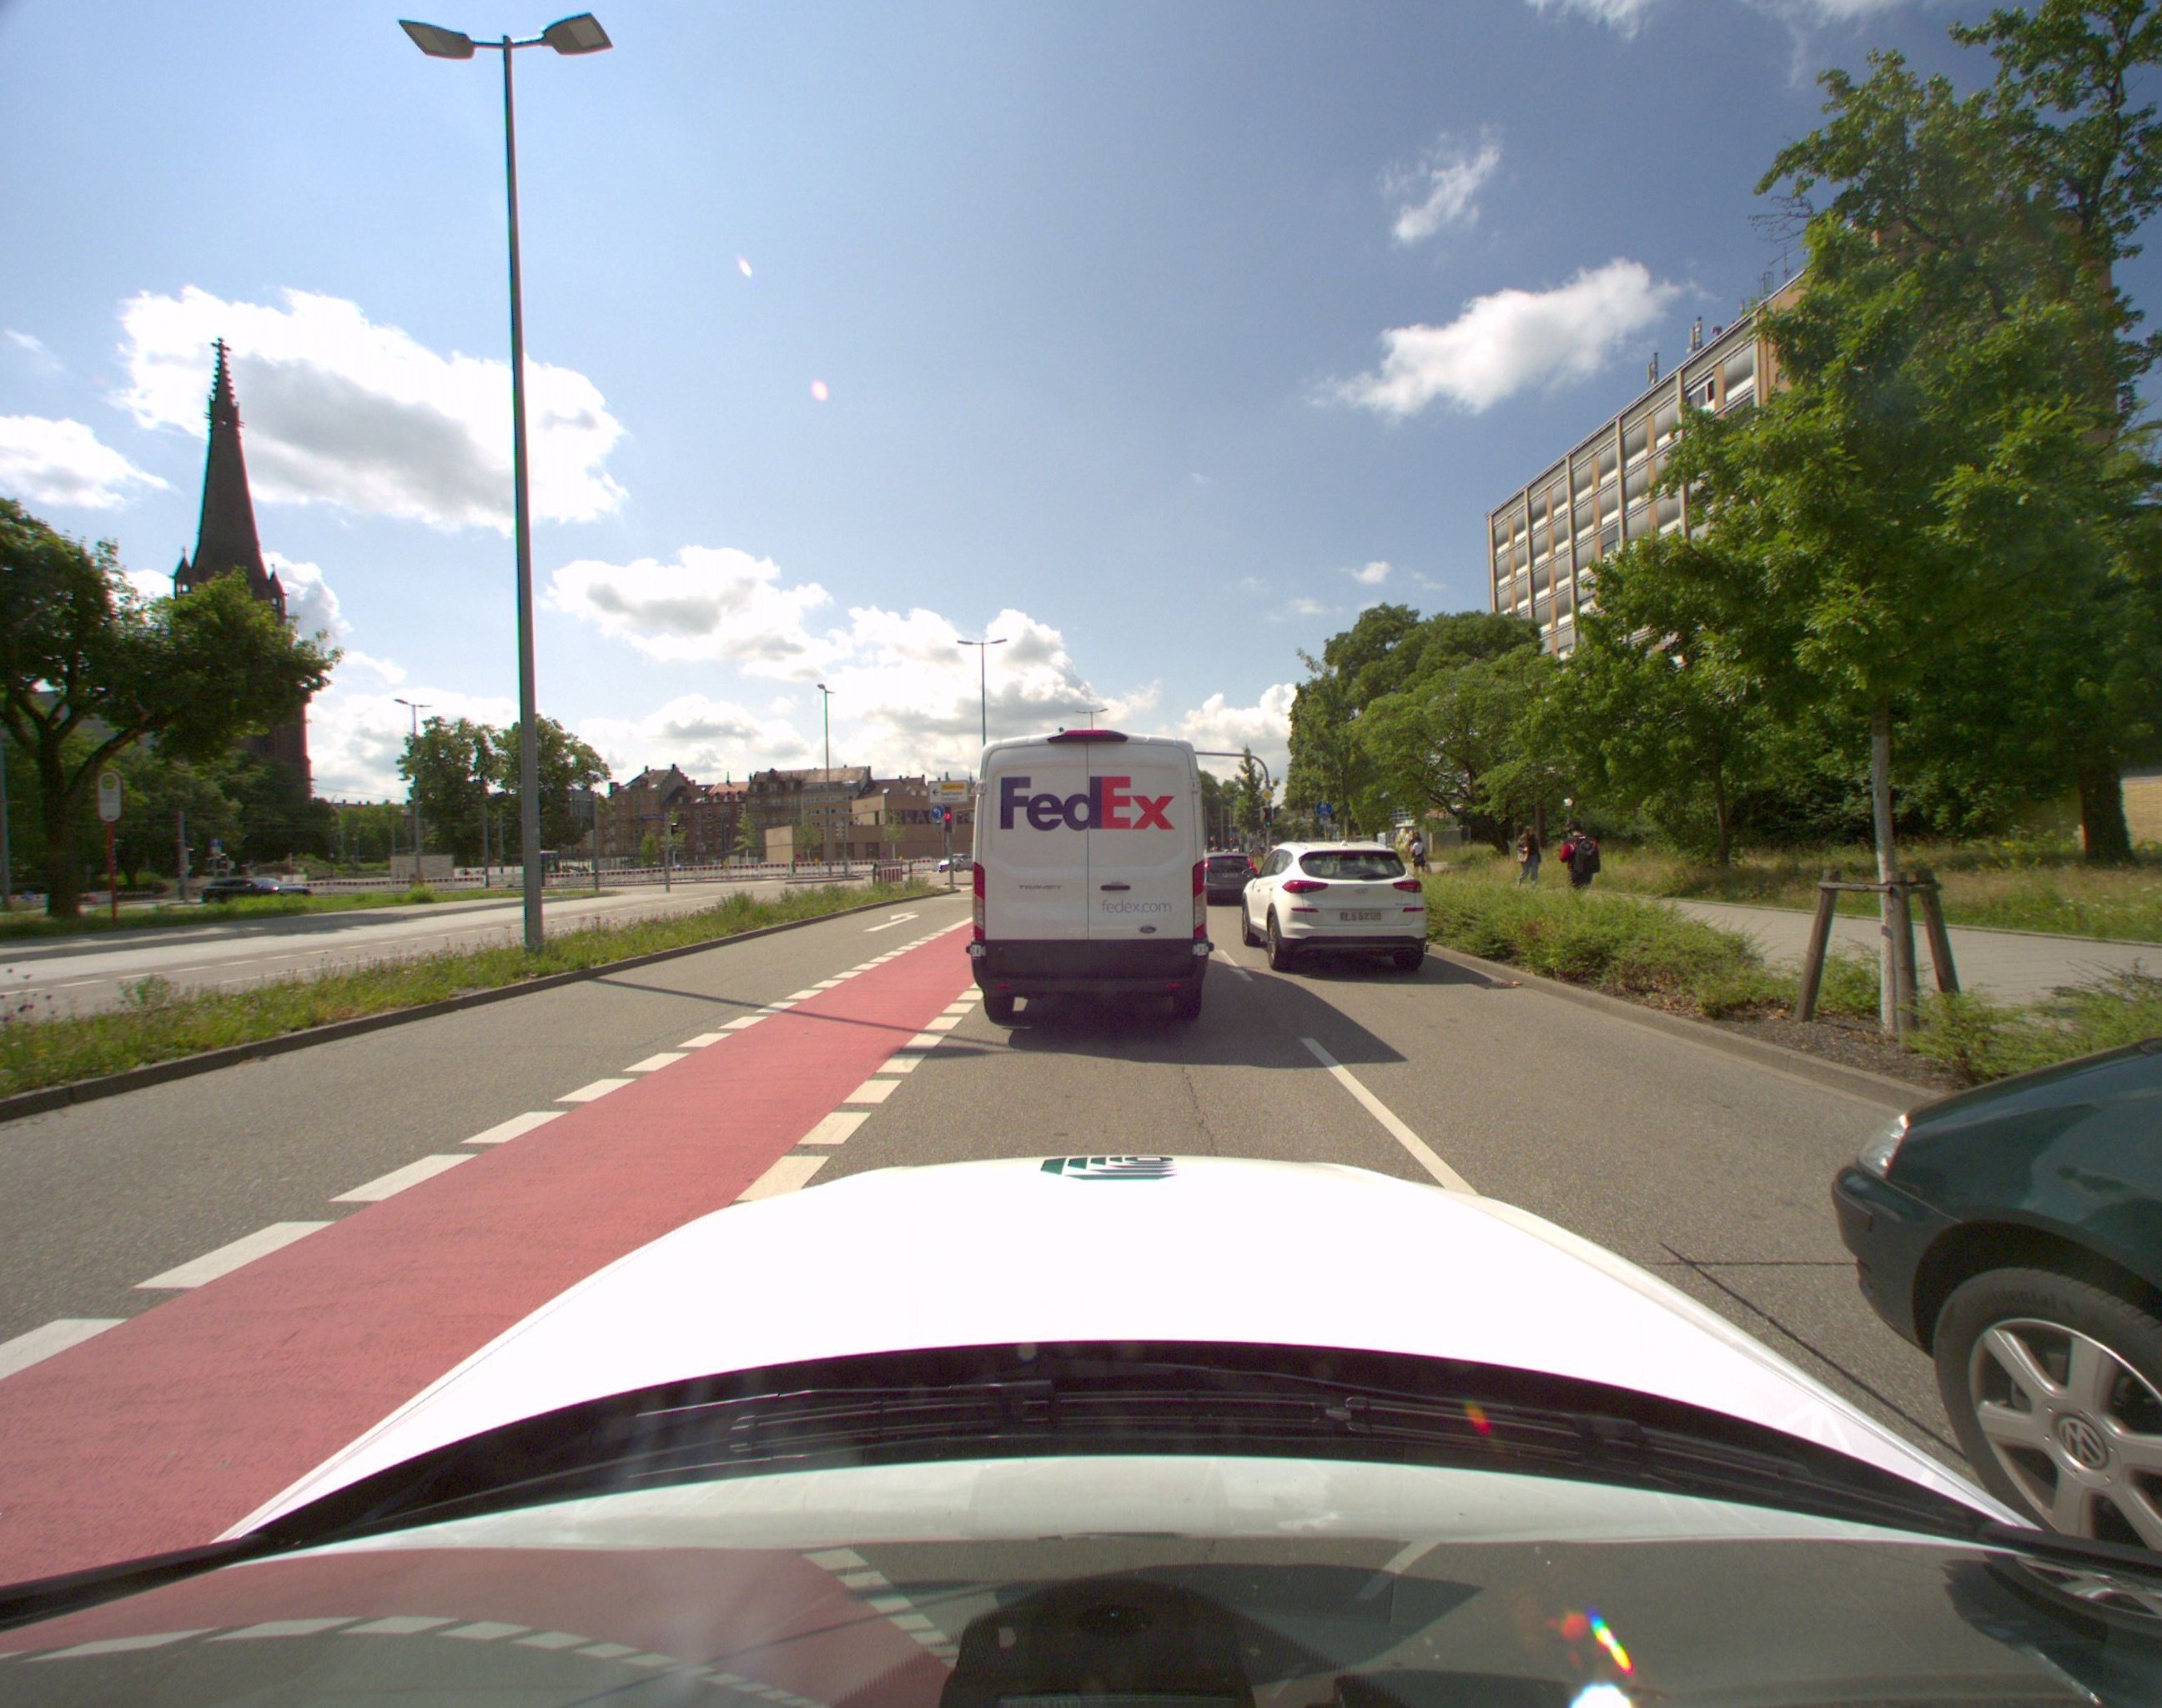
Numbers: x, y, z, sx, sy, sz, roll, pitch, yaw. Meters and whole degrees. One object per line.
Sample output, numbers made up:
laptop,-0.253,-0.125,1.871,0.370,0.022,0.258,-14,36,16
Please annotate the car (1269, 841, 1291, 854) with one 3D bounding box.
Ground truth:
car,25.961,-0.879,106.043,1.863,1.641,3.981,-2,0,27

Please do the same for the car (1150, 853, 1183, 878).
car,5.619,0.700,53.086,1.869,1.506,4.167,-1,0,10

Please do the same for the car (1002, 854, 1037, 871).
car,-5.972,0.785,79.339,1.978,1.486,3.923,-2,0,18

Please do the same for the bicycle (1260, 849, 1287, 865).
bicycle,13.843,0.215,58.605,1.799,1.050,0.593,-4,-2,8

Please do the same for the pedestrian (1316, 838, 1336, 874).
pedestrian,11.900,0.096,39.613,0.665,1.746,0.608,-3,0,-4

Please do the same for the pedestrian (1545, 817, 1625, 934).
pedestrian,7.885,0.323,12.778,0.664,1.750,0.848,-3,0,1

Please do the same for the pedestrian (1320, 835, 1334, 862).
pedestrian,16.914,-0.378,55.952,0.745,1.802,0.611,-3,0,8

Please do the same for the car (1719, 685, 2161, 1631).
car,2.820,0.568,0.319,1.787,1.723,4.450,0,0,2

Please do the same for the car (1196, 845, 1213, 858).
car,20.104,-0.401,132.391,1.977,2.014,4.143,-1,-1,19

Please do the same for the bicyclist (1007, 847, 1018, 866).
bicyclist,-6.021,0.200,71.513,0.772,1.618,0.844,-2,0,5

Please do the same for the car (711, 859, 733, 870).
car,-80.717,2.391,183.130,4.084,2.343,2.004,0,-1,8

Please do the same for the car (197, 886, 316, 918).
car,-45.237,2.628,44.763,4.480,1.486,2.000,-2,0,1

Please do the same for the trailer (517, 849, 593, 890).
trailer,-39.367,1.145,61.008,1.974,2.914,4.393,-1,-1,38

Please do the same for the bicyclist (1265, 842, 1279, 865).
bicyclist,13.726,-0.054,58.623,0.823,1.601,0.581,-4,-2,8

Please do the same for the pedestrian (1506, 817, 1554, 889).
pedestrian,11.476,-0.027,20.830,0.664,1.750,0.878,-3,0,1

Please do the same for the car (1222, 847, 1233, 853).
car,38.506,-1.095,214.229,1.976,1.574,4.201,-1,-1,23

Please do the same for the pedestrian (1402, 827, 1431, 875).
pedestrian,12.682,-0.104,30.798,0.747,1.750,0.667,-3,0,0

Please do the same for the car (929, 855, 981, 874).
car,-10.165,0.851,66.004,1.974,1.508,4.042,-1,-1,32

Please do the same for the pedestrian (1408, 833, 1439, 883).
pedestrian,11.331,0.122,26.960,0.664,1.596,0.648,-3,0,1

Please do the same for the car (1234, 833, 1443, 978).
car,3.403,0.587,11.646,1.873,1.641,4.237,-2,0,4

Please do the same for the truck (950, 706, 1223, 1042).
truck,0.133,0.161,9.403,2.129,2.640,5.920,-1,0,2

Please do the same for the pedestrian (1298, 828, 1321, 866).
pedestrian,11.054,-0.350,39.420,0.748,1.777,0.880,-3,0,-4

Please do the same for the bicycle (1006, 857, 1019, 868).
bicycle,-6.005,0.738,71.457,0.772,0.889,2.111,-2,0,5

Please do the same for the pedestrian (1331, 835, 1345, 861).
pedestrian,17.718,-0.408,56.081,0.745,1.752,0.611,-3,0,8

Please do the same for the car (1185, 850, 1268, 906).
car,4.113,0.634,23.618,1.906,1.420,3.922,-2,0,4
